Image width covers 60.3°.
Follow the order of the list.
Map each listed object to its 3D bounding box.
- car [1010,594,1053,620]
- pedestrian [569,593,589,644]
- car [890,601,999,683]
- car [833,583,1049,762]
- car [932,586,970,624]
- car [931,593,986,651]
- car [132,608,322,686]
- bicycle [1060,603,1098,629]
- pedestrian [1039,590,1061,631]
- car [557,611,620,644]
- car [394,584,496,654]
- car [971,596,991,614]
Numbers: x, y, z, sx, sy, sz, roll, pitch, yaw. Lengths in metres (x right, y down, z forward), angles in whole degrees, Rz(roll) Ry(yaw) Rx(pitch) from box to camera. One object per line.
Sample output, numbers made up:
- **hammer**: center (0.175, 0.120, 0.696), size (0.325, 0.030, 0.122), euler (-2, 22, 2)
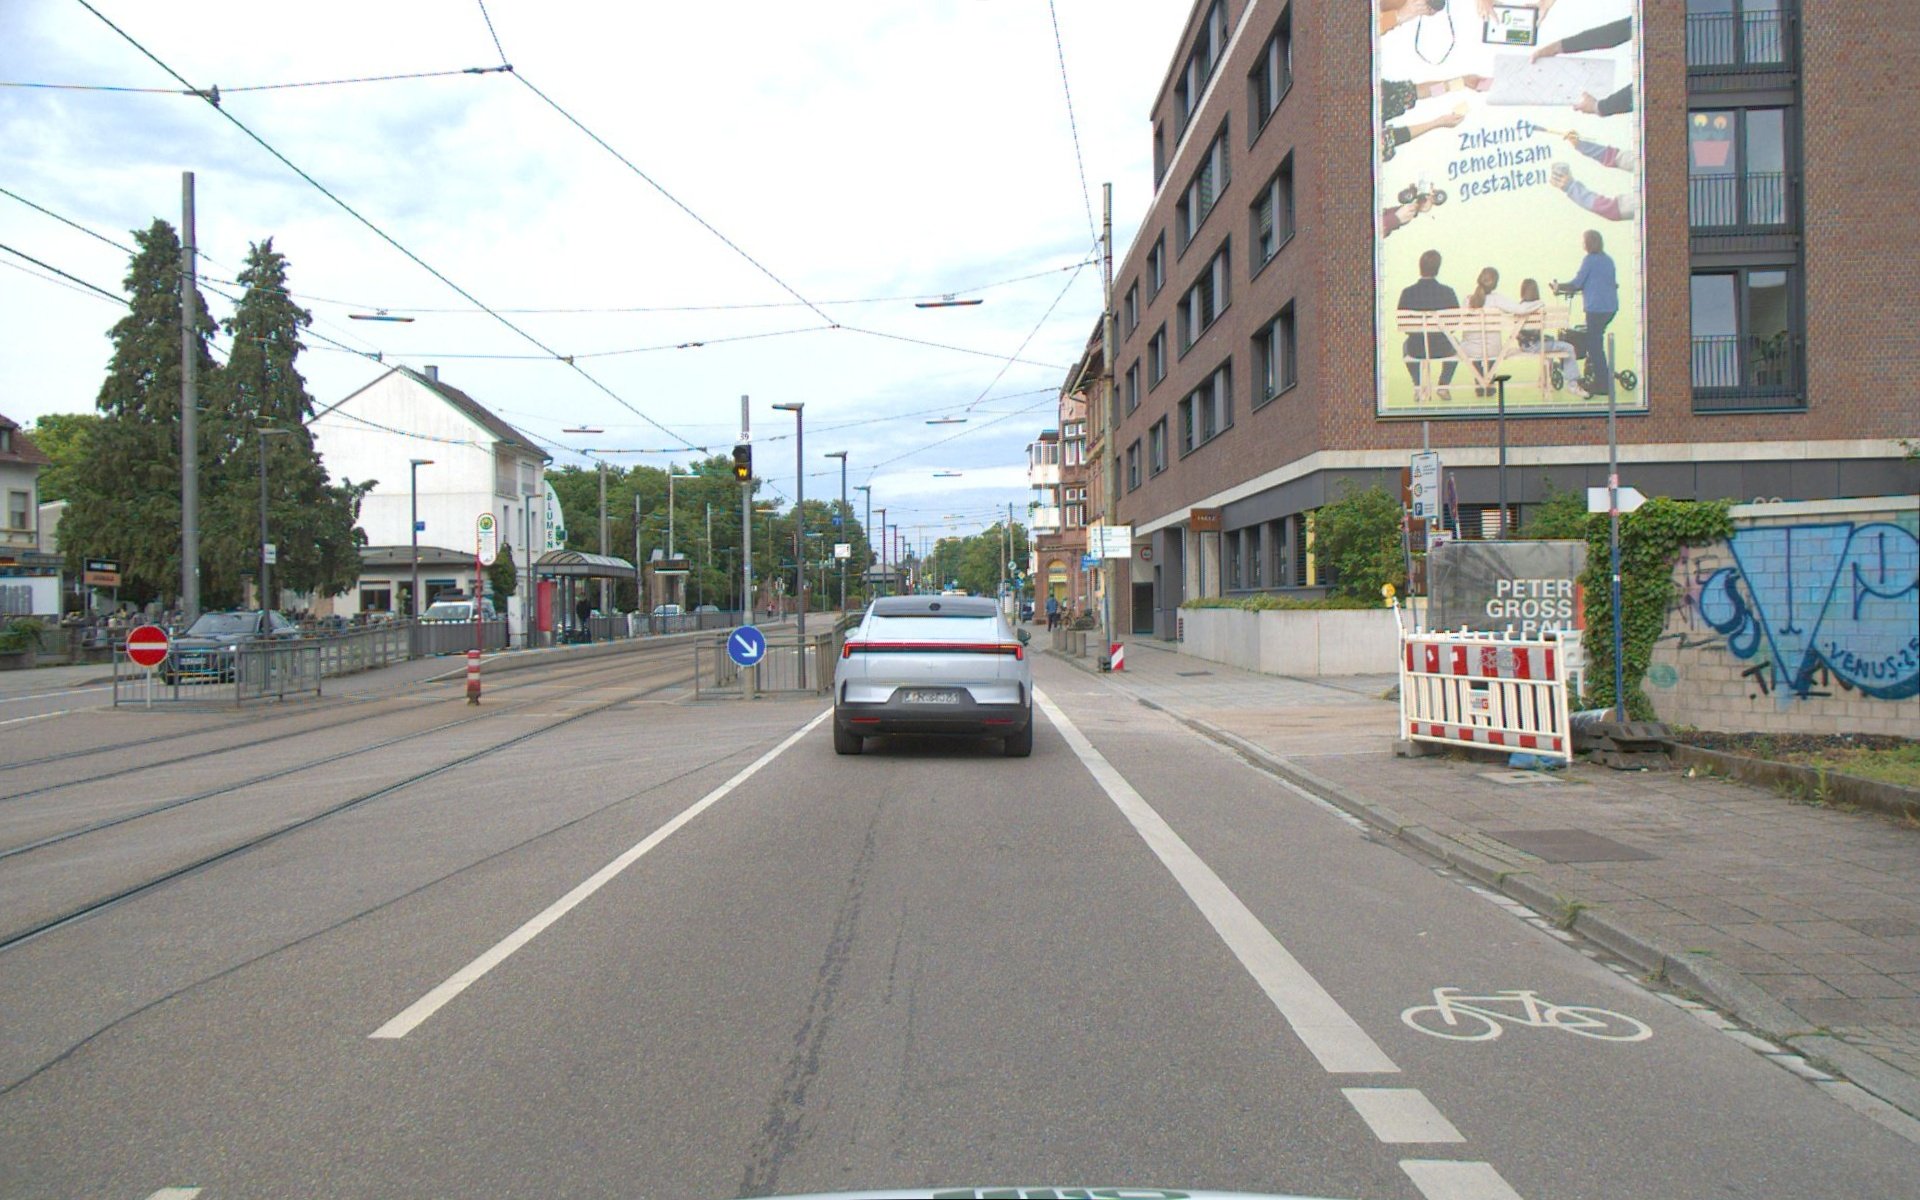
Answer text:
- **car**: center (5.661, 0.558, 129.915), size (1.954, 2.049, 3.996), euler (0, -1, 26)
- **pedestrian**: center (-12.848, 0.624, 55.793), size (0.605, 1.694, 0.694), euler (0, -1, -17)
- **car**: center (-0.336, 0.766, 32.127), size (1.953, 1.444, 3.999), euler (-1, 0, -1)
- **car**: center (-0.320, 0.682, 17.002), size (1.960, 1.609, 3.996), euler (0, -1, -5)
- **car**: center (-0.600, 0.327, 108.001), size (2.182, 2.444, 5.119), euler (0, -1, -4)
- **car**: center (-0.040, 0.666, 50.751), size (1.646, 1.717, 3.823), euler (0, -1, 0)
- **car**: center (-15.211, 0.926, 34.595), size (1.842, 1.453, 4.425), euler (-2, 0, 2)
- **bicycle**: center (5.803, 0.764, 80.911), size (1.742, 1.149, 0.642), euler (-3, 0, -1)
- **pedestrian**: center (4.378, 0.499, 80.211), size (0.940, 1.882, 0.976), euler (-3, 0, 6)
- **car**: center (-15.968, 1.181, 71.319), size (1.714, 1.321, 3.834), euler (-2, 0, 2)
- **car**: center (-15.965, 0.574, 51.513), size (1.846, 2.023, 4.523), euler (-2, 0, -2)
- **car**: center (3.055, 0.720, 240.189), size (2.750, 2.549, 5.722), euler (0, -1, 0)
